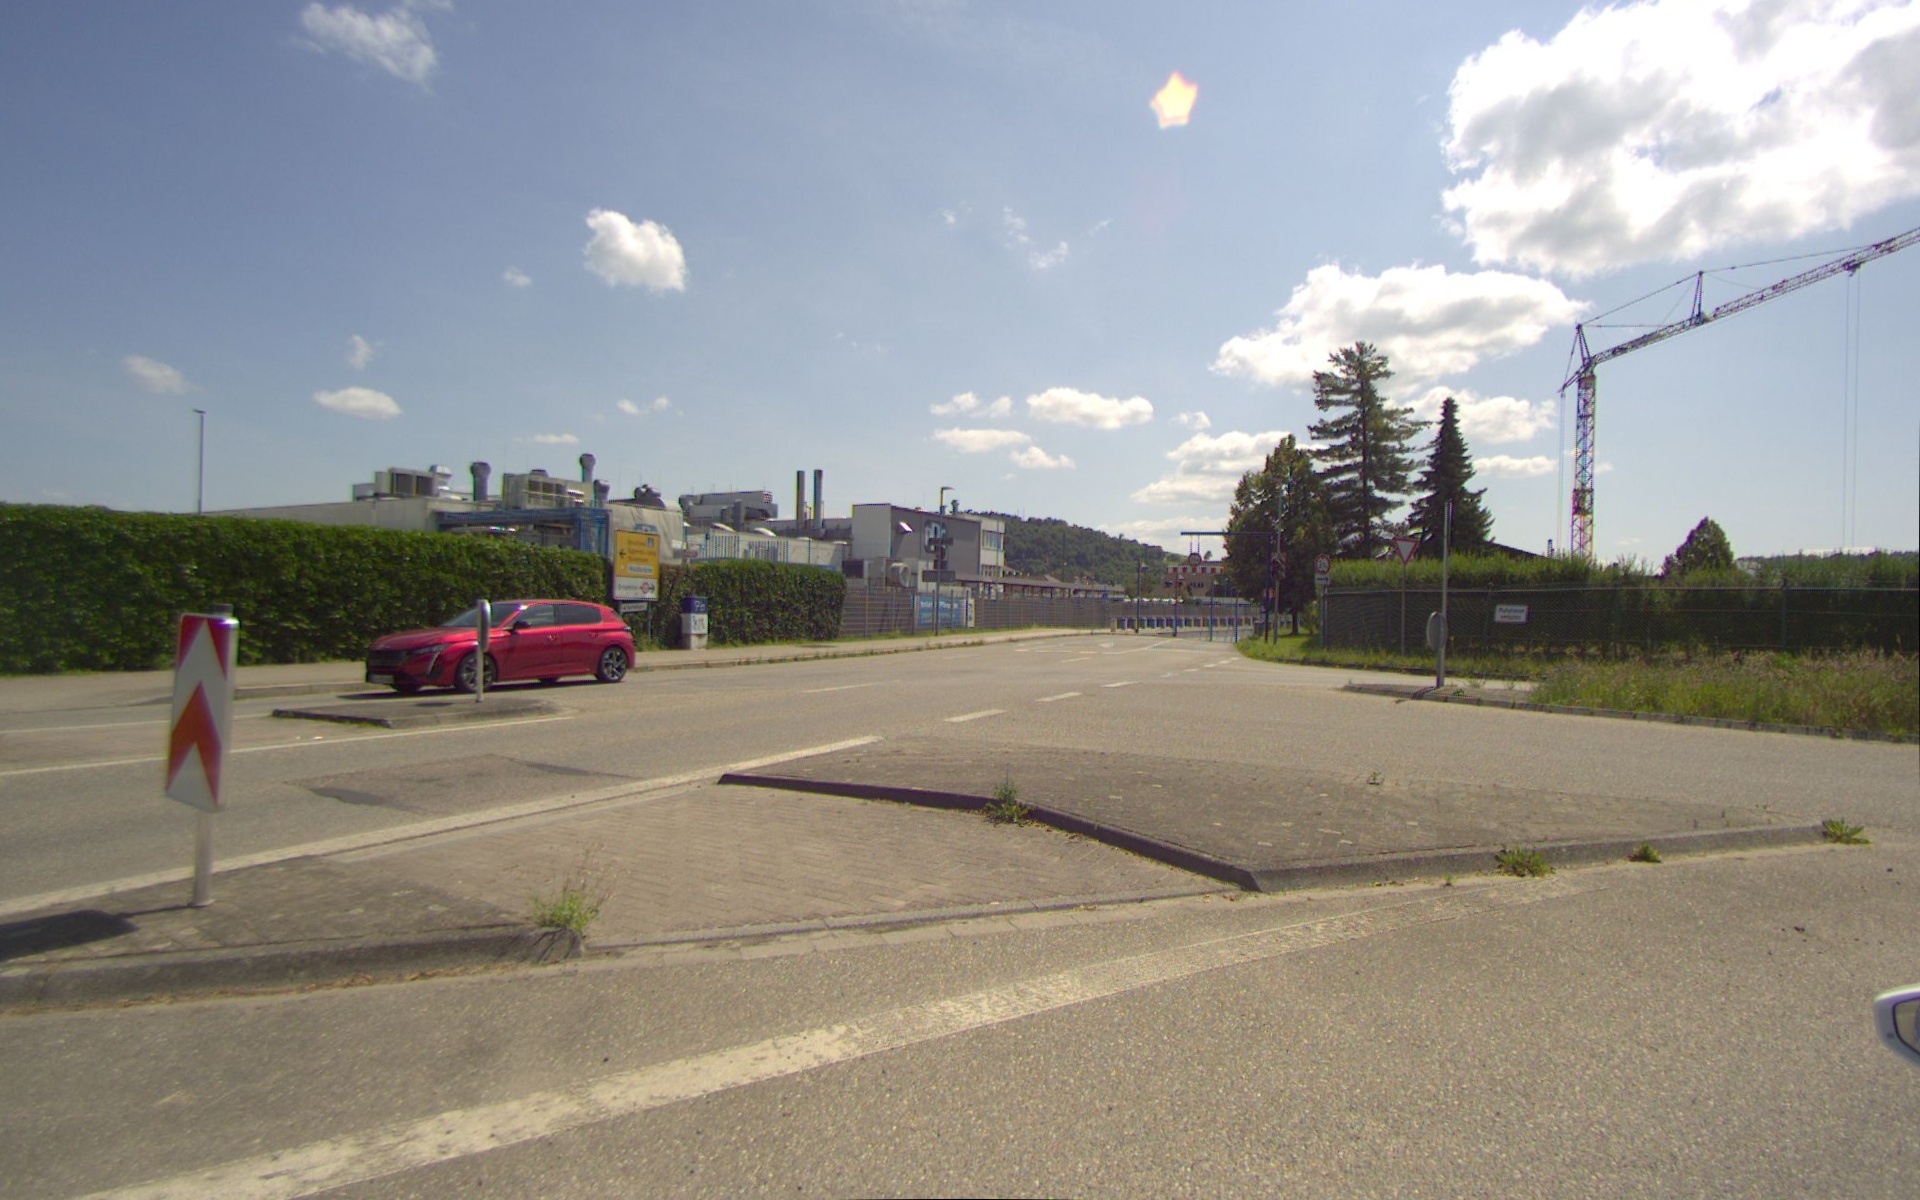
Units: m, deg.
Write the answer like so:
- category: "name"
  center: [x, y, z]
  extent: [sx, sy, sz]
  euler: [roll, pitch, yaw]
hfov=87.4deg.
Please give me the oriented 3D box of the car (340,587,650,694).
- category: "car"
  center: [-7.307, 0.599, 16.298]
  extent: [1.851, 1.483, 4.382]
  euler: [0, -1, 26]
